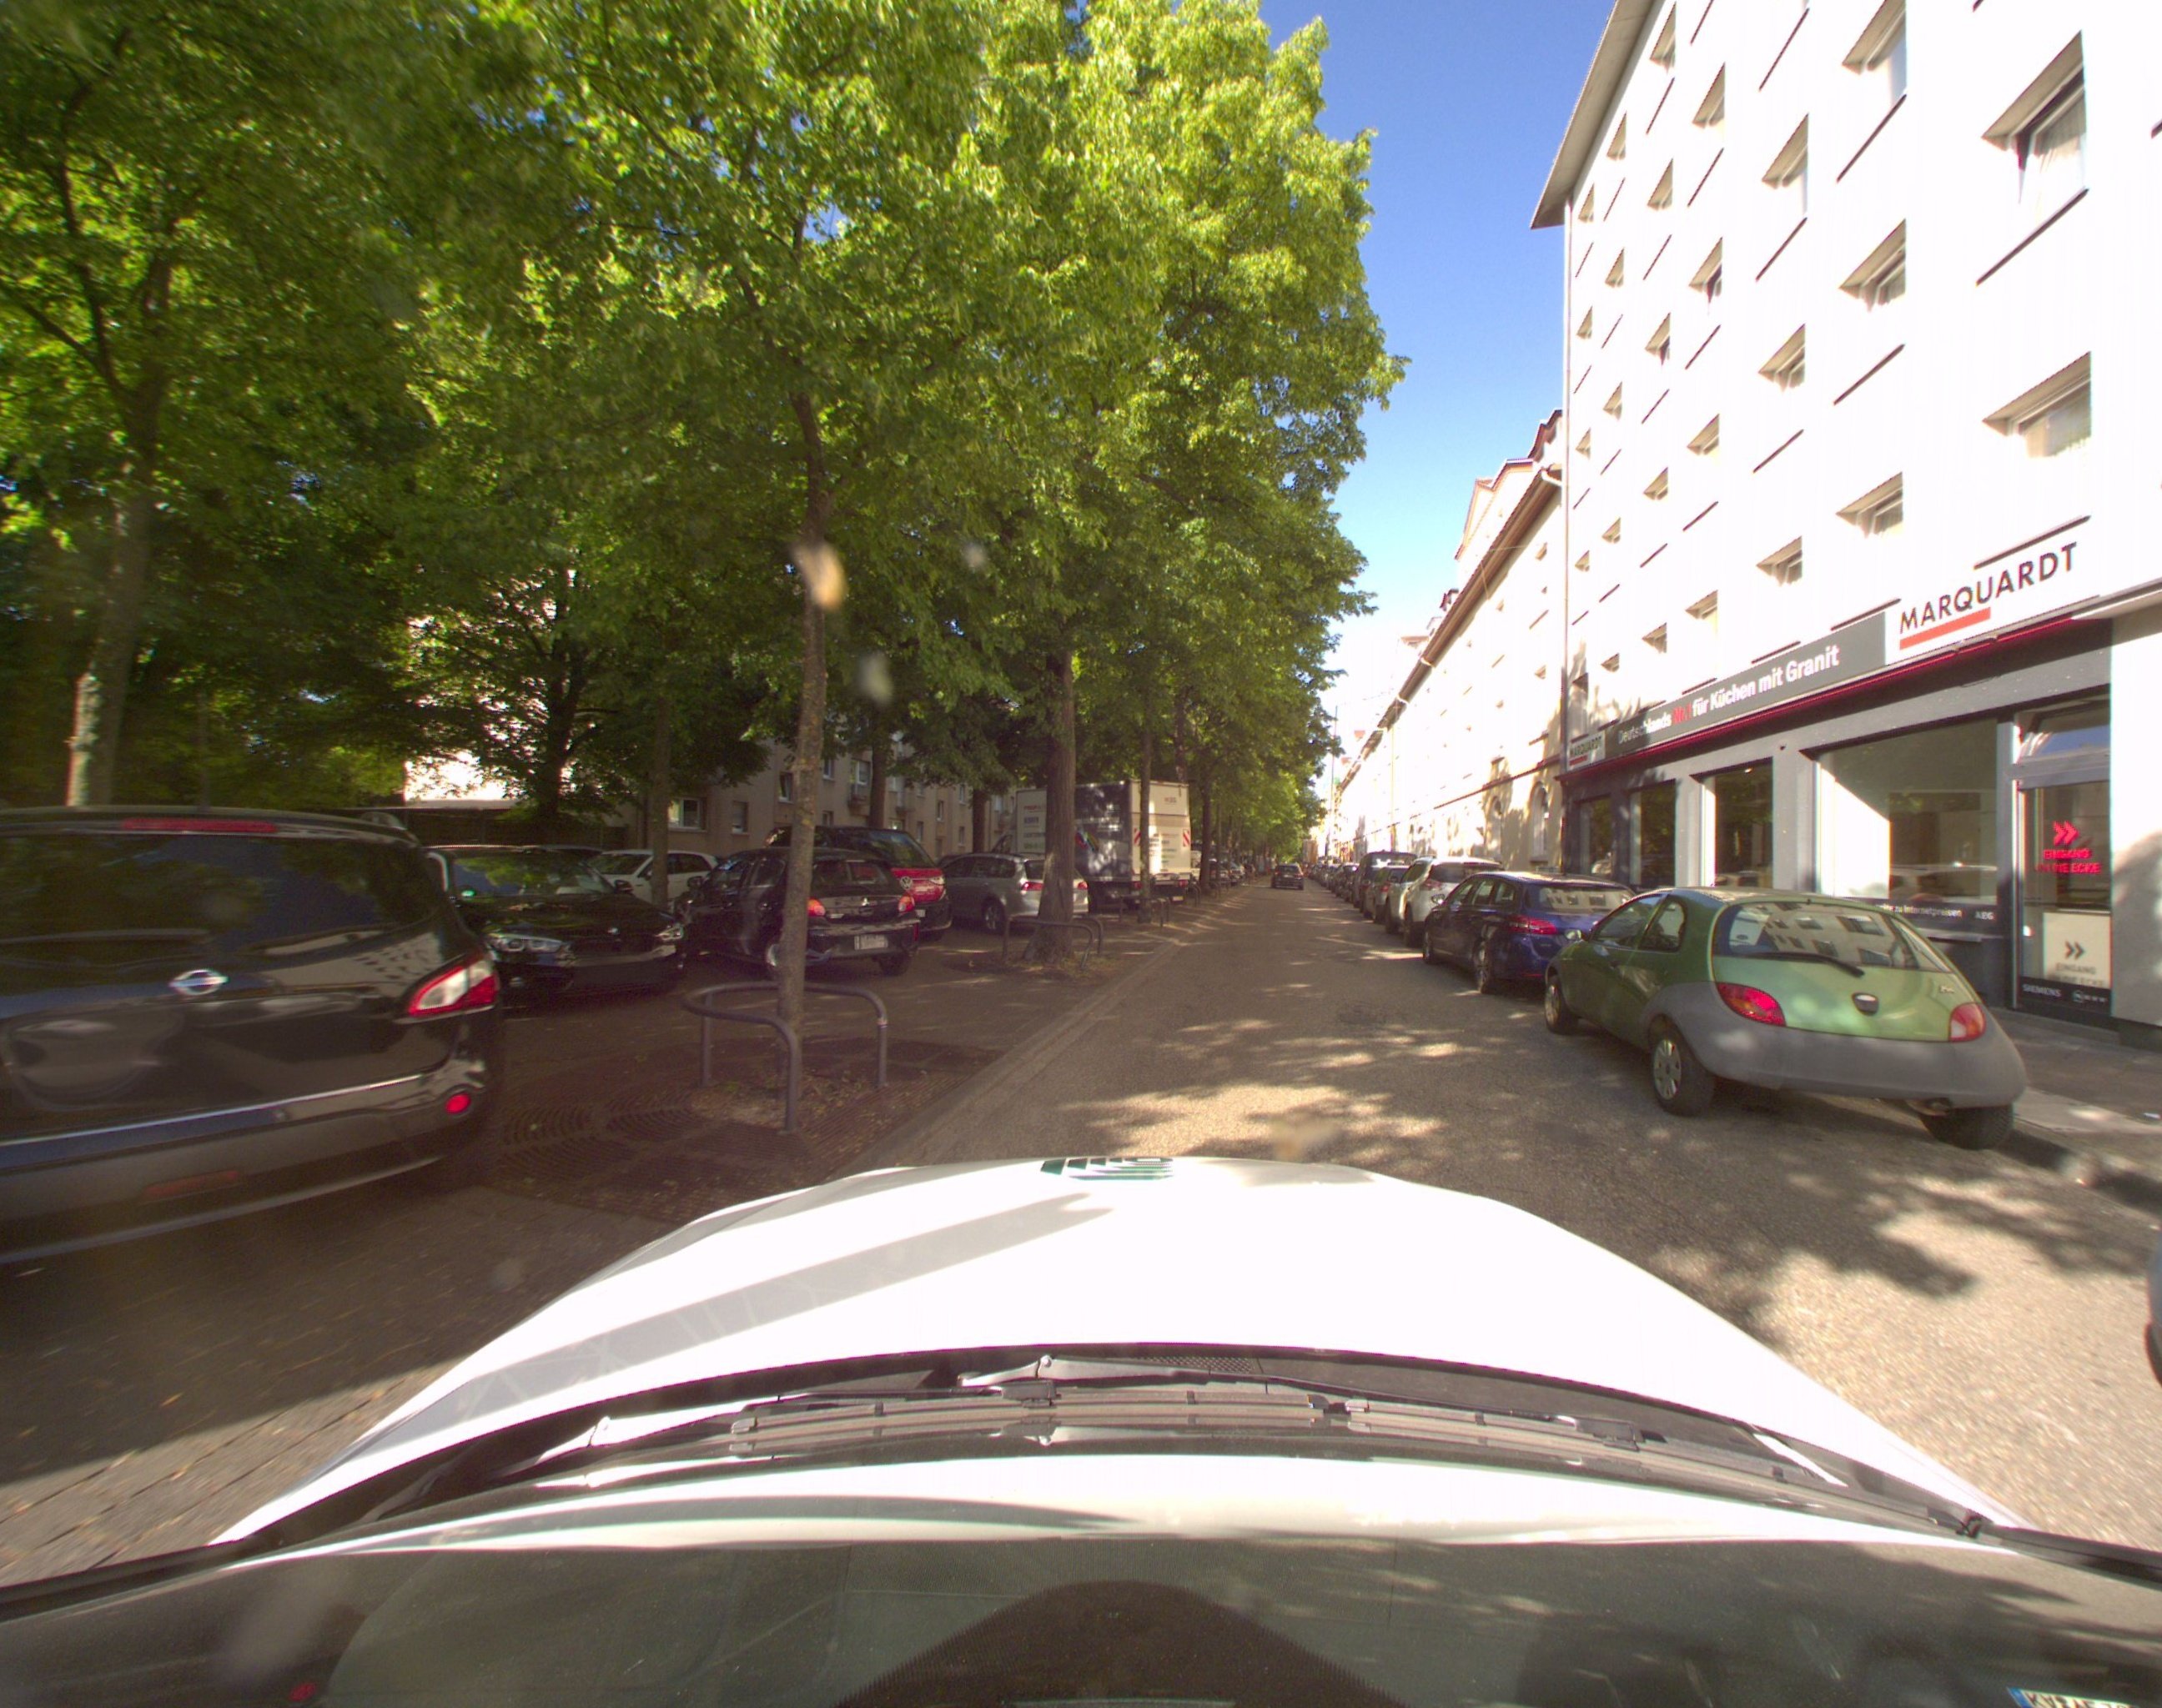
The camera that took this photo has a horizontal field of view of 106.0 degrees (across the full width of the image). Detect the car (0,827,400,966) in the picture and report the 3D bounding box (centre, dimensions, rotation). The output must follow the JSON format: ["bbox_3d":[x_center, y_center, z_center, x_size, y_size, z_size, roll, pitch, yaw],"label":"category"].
[{"bbox_3d":[-12.886,0.509,11.907,1.742,1.640,4.261,1,0,13],"label":"car"}]

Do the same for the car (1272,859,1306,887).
[{"bbox_3d":[11.854,1.056,46.487,1.784,1.504,3.598,0,0,13],"label":"car"}]

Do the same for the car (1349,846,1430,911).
[{"bbox_3d":[9.903,0.735,26.503,1.934,1.901,4.864,1,0,15],"label":"car"}]

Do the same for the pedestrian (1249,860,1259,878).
[{"bbox_3d":[14.073,1.231,66.196,0.608,1.456,0.523,0,-1,37],"label":"pedestrian"}]

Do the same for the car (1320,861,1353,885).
[{"bbox_3d":[17.088,1.225,54.646,1.711,1.528,4.172,1,0,12],"label":"car"}]

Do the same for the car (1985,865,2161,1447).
[{"bbox_3d":[3.240,0.786,0.491,1.706,1.497,4.039,1,0,15],"label":"car"}]

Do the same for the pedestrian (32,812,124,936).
[{"bbox_3d":[-14.576,0.280,11.853,0.746,1.735,0.533,1,-1,-43],"label":"pedestrian"}]

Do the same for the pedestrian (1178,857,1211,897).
[{"bbox_3d":[4.089,0.810,29.360,0.934,1.397,0.744,1,-1,-44],"label":"pedestrian"}]

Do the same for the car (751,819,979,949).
[{"bbox_3d":[-3.851,0.422,13.980,1.946,1.873,4.449,1,0,-42],"label":"car"}]

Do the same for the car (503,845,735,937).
[{"bbox_3d":[-8.539,0.618,15.508,1.744,1.486,3.958,1,0,8],"label":"car"}]

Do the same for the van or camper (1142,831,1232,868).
[{"bbox_3d":[8.598,-0.351,66.502,7.157,2.930,2.328,0,-1,41],"label":"van or camper"}]

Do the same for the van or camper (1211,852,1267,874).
[{"bbox_3d":[16.771,0.919,86.532,5.445,2.275,2.234,0,0,38],"label":"van or camper"}]

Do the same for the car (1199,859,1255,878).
[{"bbox_3d":[12.049,1.174,67.501,4.274,1.424,1.685,1,0,41],"label":"car"}]

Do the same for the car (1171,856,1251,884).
[{"bbox_3d":[7.396,0.916,46.575,1.726,1.462,4.370,3,-1,-43],"label":"car"}]

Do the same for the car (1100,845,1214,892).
[{"bbox_3d":[3.240,0.581,35.193,4.466,1.865,2.094,1,0,39],"label":"car"}]

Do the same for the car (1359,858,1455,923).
[{"bbox_3d":[8.450,0.880,21.454,1.749,1.500,4.254,1,0,14],"label":"car"}]

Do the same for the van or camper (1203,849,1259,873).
[{"bbox_3d":[16.704,0.785,90.947,5.813,2.637,2.268,0,-1,44],"label":"van or camper"}]

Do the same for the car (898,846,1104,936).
[{"bbox_3d":[-1.700,0.628,16.035,1.823,1.507,4.292,1,0,-42],"label":"car"}]

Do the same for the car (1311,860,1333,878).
[{"bbox_3d":[23.543,1.398,79.691,1.803,1.674,4.691,1,0,14],"label":"car"}]

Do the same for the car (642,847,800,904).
[{"bbox_3d":[-10.082,0.560,23.220,1.751,1.435,4.360,1,0,15],"label":"car"}]

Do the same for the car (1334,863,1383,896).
[{"bbox_3d":[12.527,1.115,36.951,1.539,1.394,3.872,1,0,11],"label":"car"}]

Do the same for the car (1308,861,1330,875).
[{"bbox_3d":[25.827,1.464,88.394,1.980,1.409,4.517,2,0,13],"label":"car"}]

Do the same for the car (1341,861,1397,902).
[{"bbox_3d":[11.266,1.039,32.058,1.611,1.498,3.607,1,0,12],"label":"car"}]

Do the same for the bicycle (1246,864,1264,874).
[{"bbox_3d":[17.658,1.538,82.495,1.723,1.006,0.509,1,-1,-16],"label":"bicycle"}]

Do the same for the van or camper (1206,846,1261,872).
[{"bbox_3d":[19.428,0.628,103.830,6.594,3.241,2.510,0,-1,43],"label":"van or camper"}]

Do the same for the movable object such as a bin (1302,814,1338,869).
[{"bbox_3d":[29.885,-1.510,101.977,2.381,6.760,3.448,2,-1,-43],"label":"movable object such as a bin"}]

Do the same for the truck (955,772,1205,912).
[{"bbox_3d":[-0.284,-0.279,22.551,2.561,3.294,7.235,1,-1,-44],"label":"truck"}]

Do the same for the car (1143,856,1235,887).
[{"bbox_3d":[5.408,0.842,41.195,1.798,1.455,4.435,1,-1,-44],"label":"car"}]

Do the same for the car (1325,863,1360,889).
[{"bbox_3d":[15.758,1.280,49.243,1.710,1.432,4.173,1,0,14],"label":"car"}]

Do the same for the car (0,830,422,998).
[{"bbox_3d":[-10.141,0.525,9.255,1.744,1.486,3.958,1,0,8],"label":"car"}]

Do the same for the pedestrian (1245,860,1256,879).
[{"bbox_3d":[13.676,1.256,65.696,0.702,1.456,0.600,0,-1,37],"label":"pedestrian"}]

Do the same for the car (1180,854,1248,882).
[{"bbox_3d":[8.622,0.884,53.070,4.095,1.679,1.770,1,0,43],"label":"car"}]

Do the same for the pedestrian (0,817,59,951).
[{"bbox_3d":[-14.388,0.387,10.915,0.735,1.735,0.541,1,-1,10],"label":"pedestrian"}]

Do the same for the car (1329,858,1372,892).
[{"bbox_3d":[14.222,1.092,43.149,1.711,1.686,4.171,1,0,12],"label":"car"}]

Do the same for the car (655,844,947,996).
[{"bbox_3d":[-3.530,0.645,9.946,3.775,1.481,1.772,1,0,43],"label":"car"}]

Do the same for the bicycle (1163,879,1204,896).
[{"bbox_3d":[3.735,1.225,29.778,0.412,0.558,1.594,1,0,-45],"label":"bicycle"}]

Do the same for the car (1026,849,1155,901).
[{"bbox_3d":[0.232,0.628,26.079,1.859,1.503,3.951,2,0,-44],"label":"car"}]

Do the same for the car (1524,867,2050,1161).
[{"bbox_3d":[4.749,0.864,6.210,1.585,1.463,3.687,1,0,15],"label":"car"}]

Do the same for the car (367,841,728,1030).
[{"bbox_3d":[-5.406,0.611,8.093,3.898,1.422,1.833,1,0,38],"label":"car"}]

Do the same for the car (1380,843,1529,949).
[{"bbox_3d":[7.106,0.713,15.981,1.750,1.753,4.525,1,0,13],"label":"car"}]

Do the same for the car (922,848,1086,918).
[{"bbox_3d":[-2.008,0.643,20.171,1.823,1.507,4.292,1,0,-42],"label":"car"}]

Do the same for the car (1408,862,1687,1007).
[{"bbox_3d":[5.782,0.855,10.785,1.791,1.463,4.452,1,0,10],"label":"car"}]

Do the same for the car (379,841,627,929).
[{"bbox_3d":[-11.775,0.580,16.948,1.741,1.569,3.965,1,0,15],"label":"car"}]

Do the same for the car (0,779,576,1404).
[{"bbox_3d":[-4.134,0.551,3.935,4.283,1.671,1.848,3,1,44],"label":"car"}]
